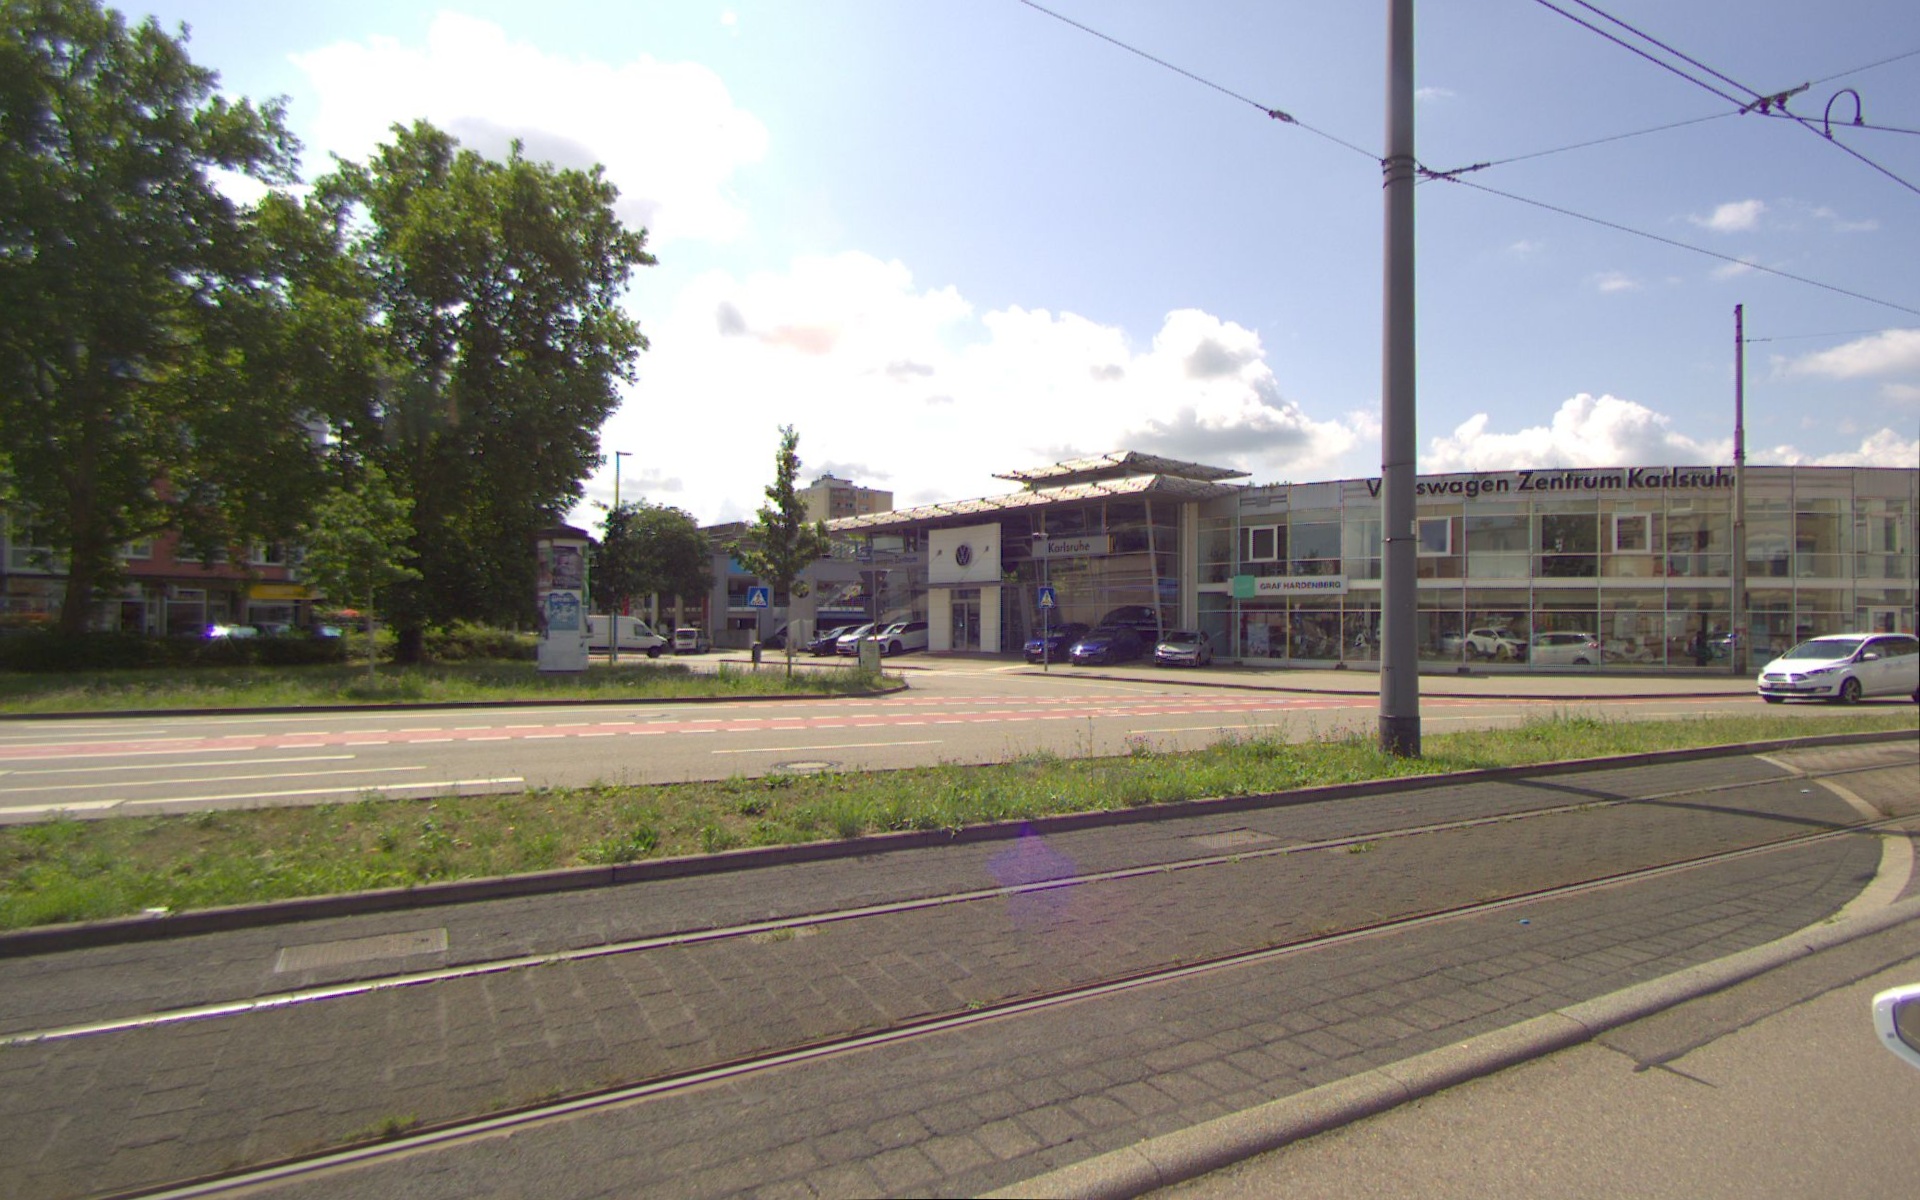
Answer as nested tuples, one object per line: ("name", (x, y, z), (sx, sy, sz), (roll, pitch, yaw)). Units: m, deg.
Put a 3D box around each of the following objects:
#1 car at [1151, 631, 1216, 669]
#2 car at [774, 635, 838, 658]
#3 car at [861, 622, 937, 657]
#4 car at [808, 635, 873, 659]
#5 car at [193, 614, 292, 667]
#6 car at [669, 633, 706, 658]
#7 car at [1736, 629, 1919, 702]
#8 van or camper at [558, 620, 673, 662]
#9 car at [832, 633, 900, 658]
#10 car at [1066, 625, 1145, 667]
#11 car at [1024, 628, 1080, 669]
("car", (9.171, 1.994, 40.994), (1.800, 1.466, 3.944), (0, -2, 25))
("car", (-8.871, 2.696, 58.166), (1.533, 1.262, 3.625), (-1, -2, 38))
("car", (-3.183, 2.053, 52.956), (3.838, 1.797, 1.679), (2, -2, -43))
("car", (-6.702, 2.620, 56.380), (1.533, 1.262, 3.625), (-1, -2, 38))
("car", (-28.978, 1.591, 40.553), (3.932, 2.040, 1.995), (-1, -2, 33))
("car", (-18.958, 3.144, 69.770), (1.971, 1.639, 3.979), (1, -2, -22))
("car", (21.212, 1.538, 24.174), (4.421, 1.625, 1.766), (0, -2, -17))
("van or camper", (-21.534, 2.529, 62.895), (6.592, 2.532, 2.564), (1, -1, -25))
("car", (-5.084, 2.461, 54.779), (1.535, 1.262, 3.620), (-1, -2, 41))
("car", (6.055, 1.852, 41.575), (1.634, 1.493, 3.772), (0, 1, 37))
("car", (4.064, 2.072, 44.023), (1.741, 1.695, 3.641), (0, -1, 17))
